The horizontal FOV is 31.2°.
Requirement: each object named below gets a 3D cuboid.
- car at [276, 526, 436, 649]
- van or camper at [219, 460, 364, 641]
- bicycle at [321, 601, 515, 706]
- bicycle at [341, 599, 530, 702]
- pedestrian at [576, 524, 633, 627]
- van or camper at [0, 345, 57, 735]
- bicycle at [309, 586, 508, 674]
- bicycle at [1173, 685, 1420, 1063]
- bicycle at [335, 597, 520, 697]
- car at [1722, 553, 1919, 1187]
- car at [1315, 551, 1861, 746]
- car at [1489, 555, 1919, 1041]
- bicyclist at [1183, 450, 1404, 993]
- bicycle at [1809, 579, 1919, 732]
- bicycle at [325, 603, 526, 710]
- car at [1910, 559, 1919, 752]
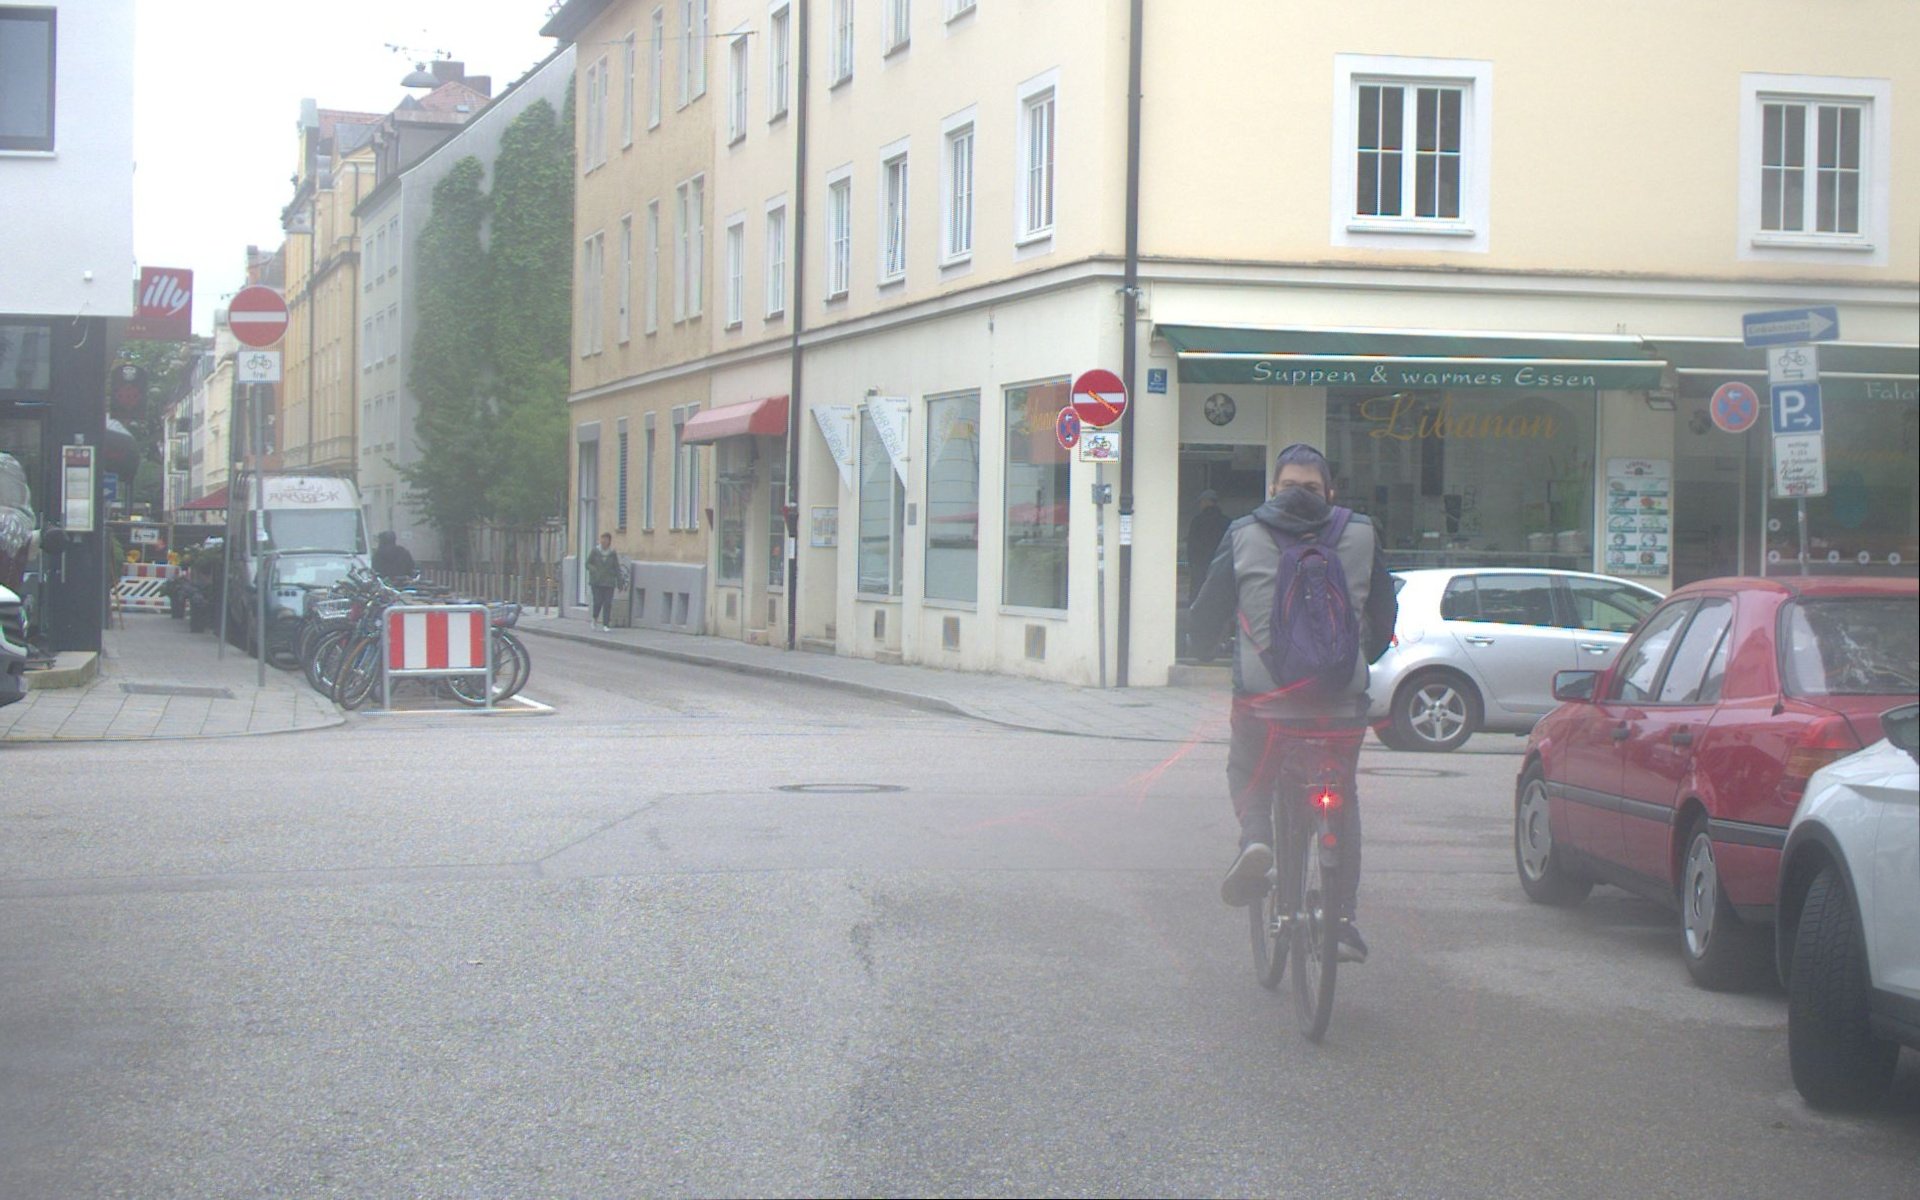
[{"bbox_3d":[-7.978,-0.201,45.189,1.832,1.530,4.001,0,1,-13],"label":"car"},{"bbox_3d":[-9.965,-0.748,50.999,1.993,2.531,4.762,1,1,-12],"label":"van or camper"},{"bbox_3d":[-5.117,0.499,32.460,1.735,0.965,0.543,0,1,-17],"label":"bicycle"},{"bbox_3d":[-5.065,0.483,33.175,1.735,0.965,0.543,0,1,-17],"label":"bicycle"},{"bbox_3d":[-6.168,-0.425,59.550,0.877,1.772,0.774,0,1,-13],"label":"pedestrian"},{"bbox_3d":[-9.441,-0.427,23.993,5.903,2.668,1.873,1,-1,-10],"label":"van or camper"},{"bbox_3d":[-5.581,0.303,34.777,1.910,0.860,0.619,0,1,-17],"label":"bicycle"},{"bbox_3d":[1.007,0.800,10.579,0.639,1.001,1.574,1,1,2],"label":"bicycle"},{"bbox_3d":[-5.233,0.461,33.780,1.735,0.965,0.543,0,1,-17],"label":"bicycle"},{"bbox_3d":[3.200,0.673,7.782,1.750,1.491,3.910,1,1,-5],"label":"car"},{"bbox_3d":[4.931,0.412,27.373,3.987,1.411,1.820,1,-3,0],"label":"car"},{"bbox_3d":[3.195,0.598,12.667,1.669,1.430,4.214,2,1,-2],"label":"car"},{"bbox_3d":[1.009,0.349,10.539,0.606,1.601,0.757,1,2,2],"label":"bicyclist"},{"bbox_3d":[8.563,0.489,29.665,2.081,1.249,1.107,2,2,-10],"label":"bicycle"},{"bbox_3d":[-4.950,0.518,31.832,1.754,0.965,0.595,0,1,-17],"label":"bicycle"},{"bbox_3d":[10.133,0.496,27.815,4.334,1.586,1.821,1,-1,-12],"label":"car"}]
